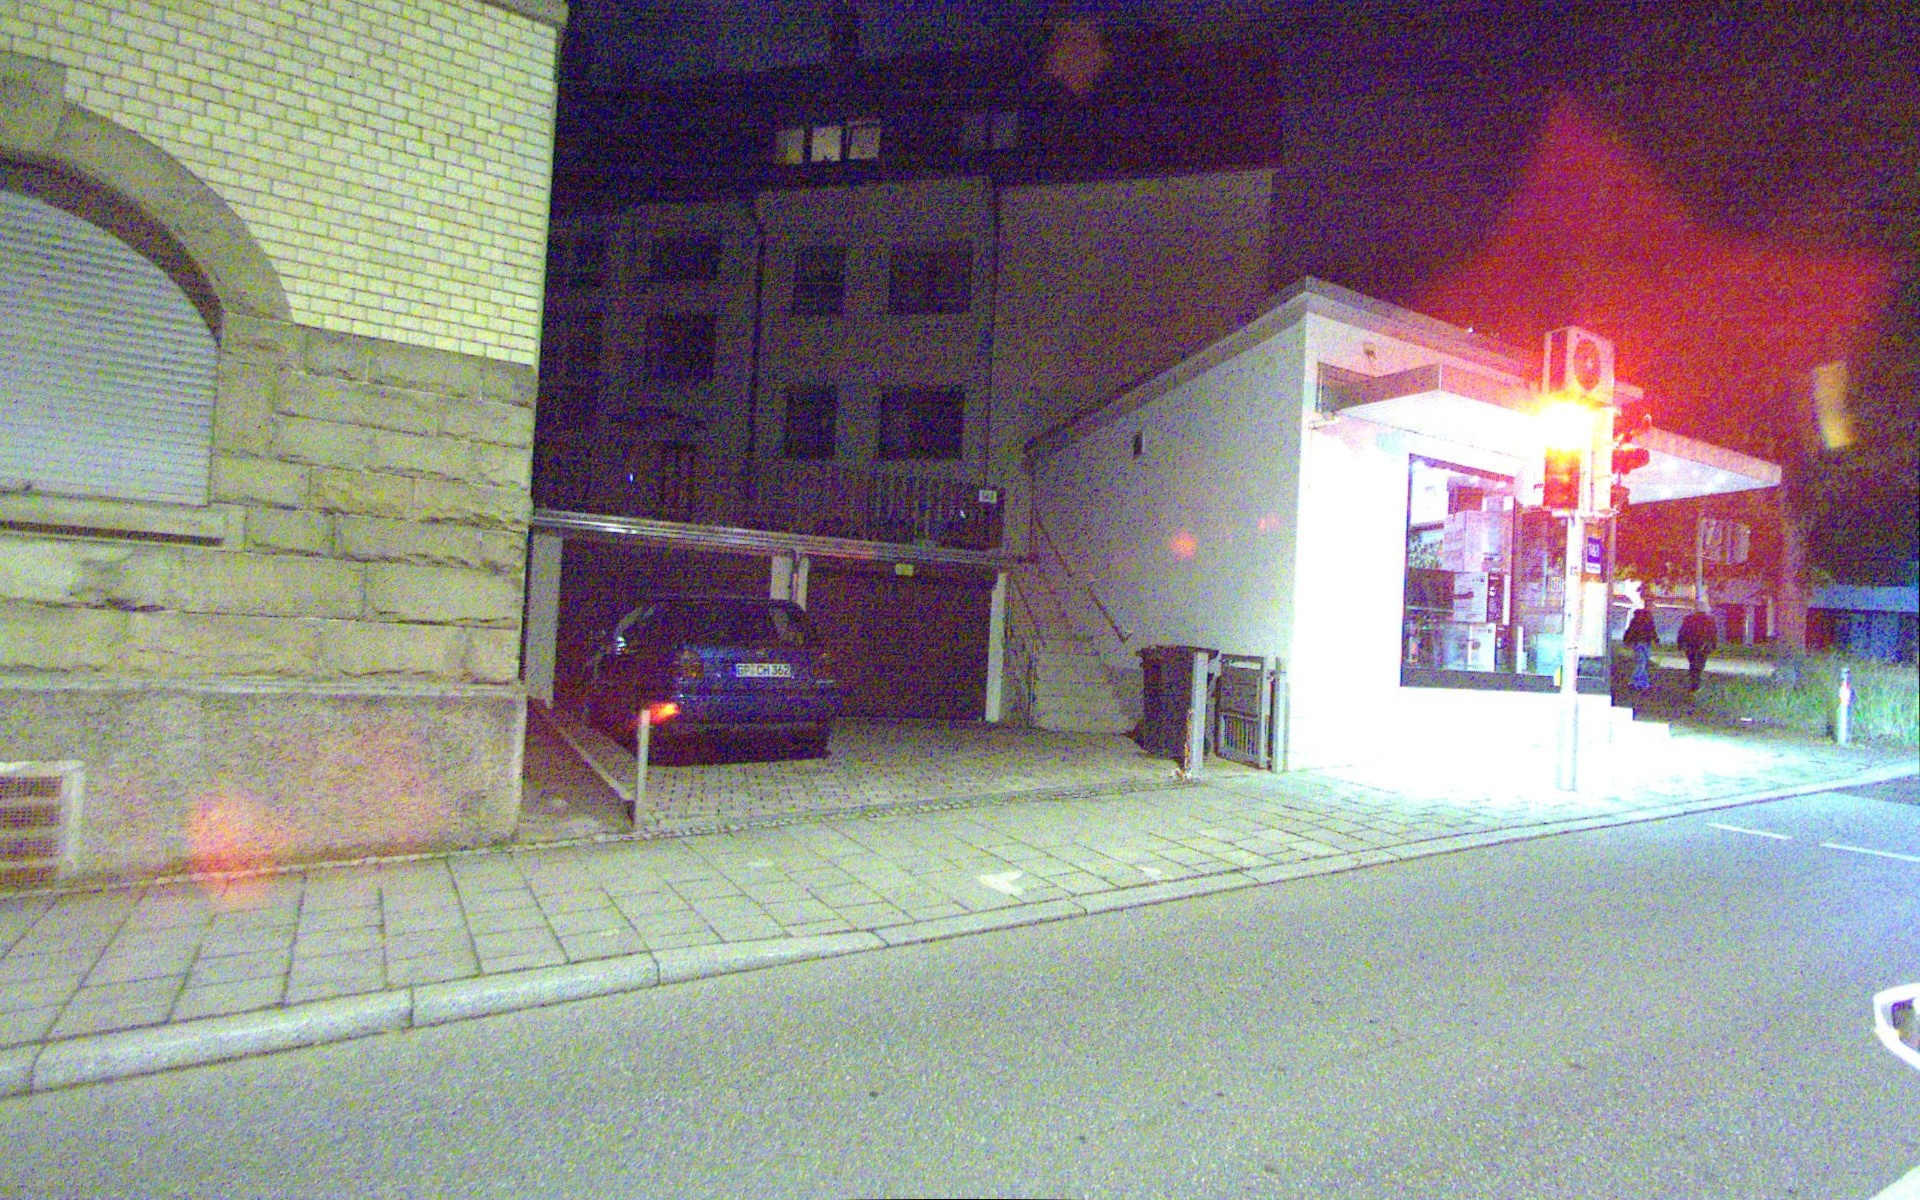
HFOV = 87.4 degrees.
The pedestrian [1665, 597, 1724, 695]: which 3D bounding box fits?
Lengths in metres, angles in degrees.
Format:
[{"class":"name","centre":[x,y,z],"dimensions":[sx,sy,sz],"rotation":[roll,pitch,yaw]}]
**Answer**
[{"class":"pedestrian","centre":[13.914,0.866,19.029],"dimensions":[0.729,1.801,0.567],"rotation":[2,2,-30]}]

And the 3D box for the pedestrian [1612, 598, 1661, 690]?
[{"class":"pedestrian","centre":[13.085,0.840,19.427],"dimensions":[0.537,1.754,0.567],"rotation":[2,0,-30]}]

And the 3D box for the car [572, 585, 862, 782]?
[{"class":"car","centre":[-2.480,0.627,9.568],"dimensions":[1.700,1.460,3.631],"rotation":[2,0,-30]}]
